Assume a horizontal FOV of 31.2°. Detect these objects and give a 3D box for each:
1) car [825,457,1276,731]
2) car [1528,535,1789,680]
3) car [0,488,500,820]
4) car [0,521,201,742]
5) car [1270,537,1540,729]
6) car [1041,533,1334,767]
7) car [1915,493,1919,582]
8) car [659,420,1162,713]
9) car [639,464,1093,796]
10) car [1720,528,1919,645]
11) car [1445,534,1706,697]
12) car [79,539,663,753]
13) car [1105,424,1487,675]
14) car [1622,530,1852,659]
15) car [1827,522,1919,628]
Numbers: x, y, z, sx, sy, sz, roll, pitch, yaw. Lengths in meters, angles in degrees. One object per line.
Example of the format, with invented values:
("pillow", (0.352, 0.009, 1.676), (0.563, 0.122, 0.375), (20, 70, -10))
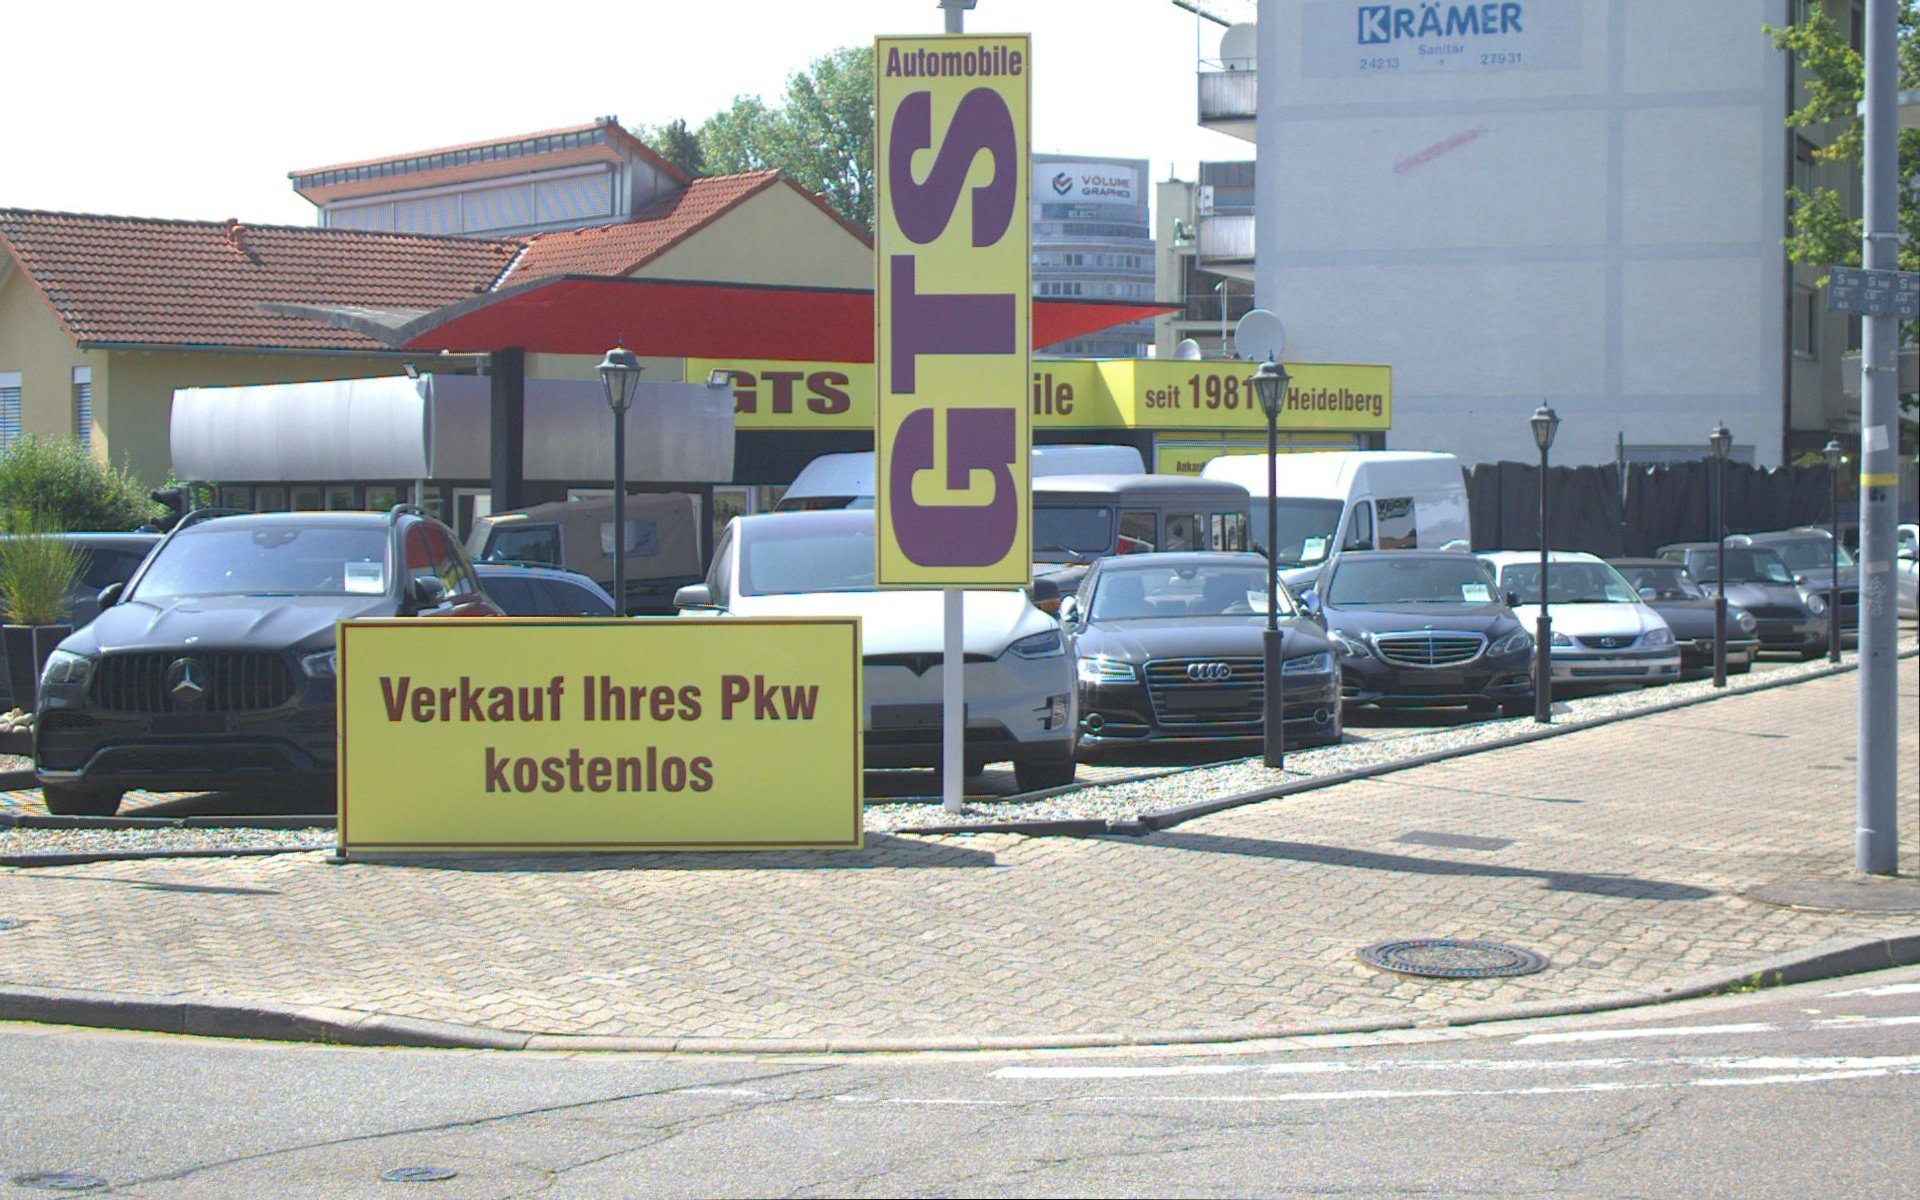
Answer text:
("car", (0.947, -0.047, 31.995), (2.249, 2.342, 4.816), (0, 0, 29))
("car", (7.720, 0.059, 38.333), (1.666, 1.468, 4.001), (-2, 1, -6))
("car", (-4.047, 0.297, 19.912), (2.042, 1.701, 4.314), (0, 0, 2))
("car", (-9.002, 0.253, 29.398), (4.875, 1.836, 2.163), (0, 1, -13))
("car", (3.749, 0.241, 29.575), (1.836, 1.468, 4.000), (-2, 1, 1))
("car", (1.542, 0.310, 24.598), (1.836, 1.468, 4.000), (-2, 0, 1))
("car", (23.017, -1.325, 75.360), (3.926, 1.952, 1.758), (2, 2, 17))
("car", (-0.363, -0.335, 35.521), (2.281, 2.748, 6.142), (0, 0, 31))
("car", (-0.695, 0.218, 20.350), (1.975, 1.701, 4.665), (-1, -2, -10))
("car", (11.745, -0.197, 46.704), (1.667, 1.468, 4.001), (-2, 1, -4))
("car", (6.129, 0.138, 34.665), (1.780, 1.468, 4.000), (-2, 0, -1))
("car", (-4.725, 0.300, 28.229), (1.913, 1.569, 4.677), (1, 2, 37))
("car", (3.800, -0.537, 37.661), (2.249, 2.421, 5.711), (4, 2, 25))
("car", (9.544, -0.086, 42.529), (1.667, 1.468, 4.001), (-2, 1, -4))
("car", (14.013, -0.400, 49.538), (1.776, 1.468, 4.001), (-2, 1, -4))
